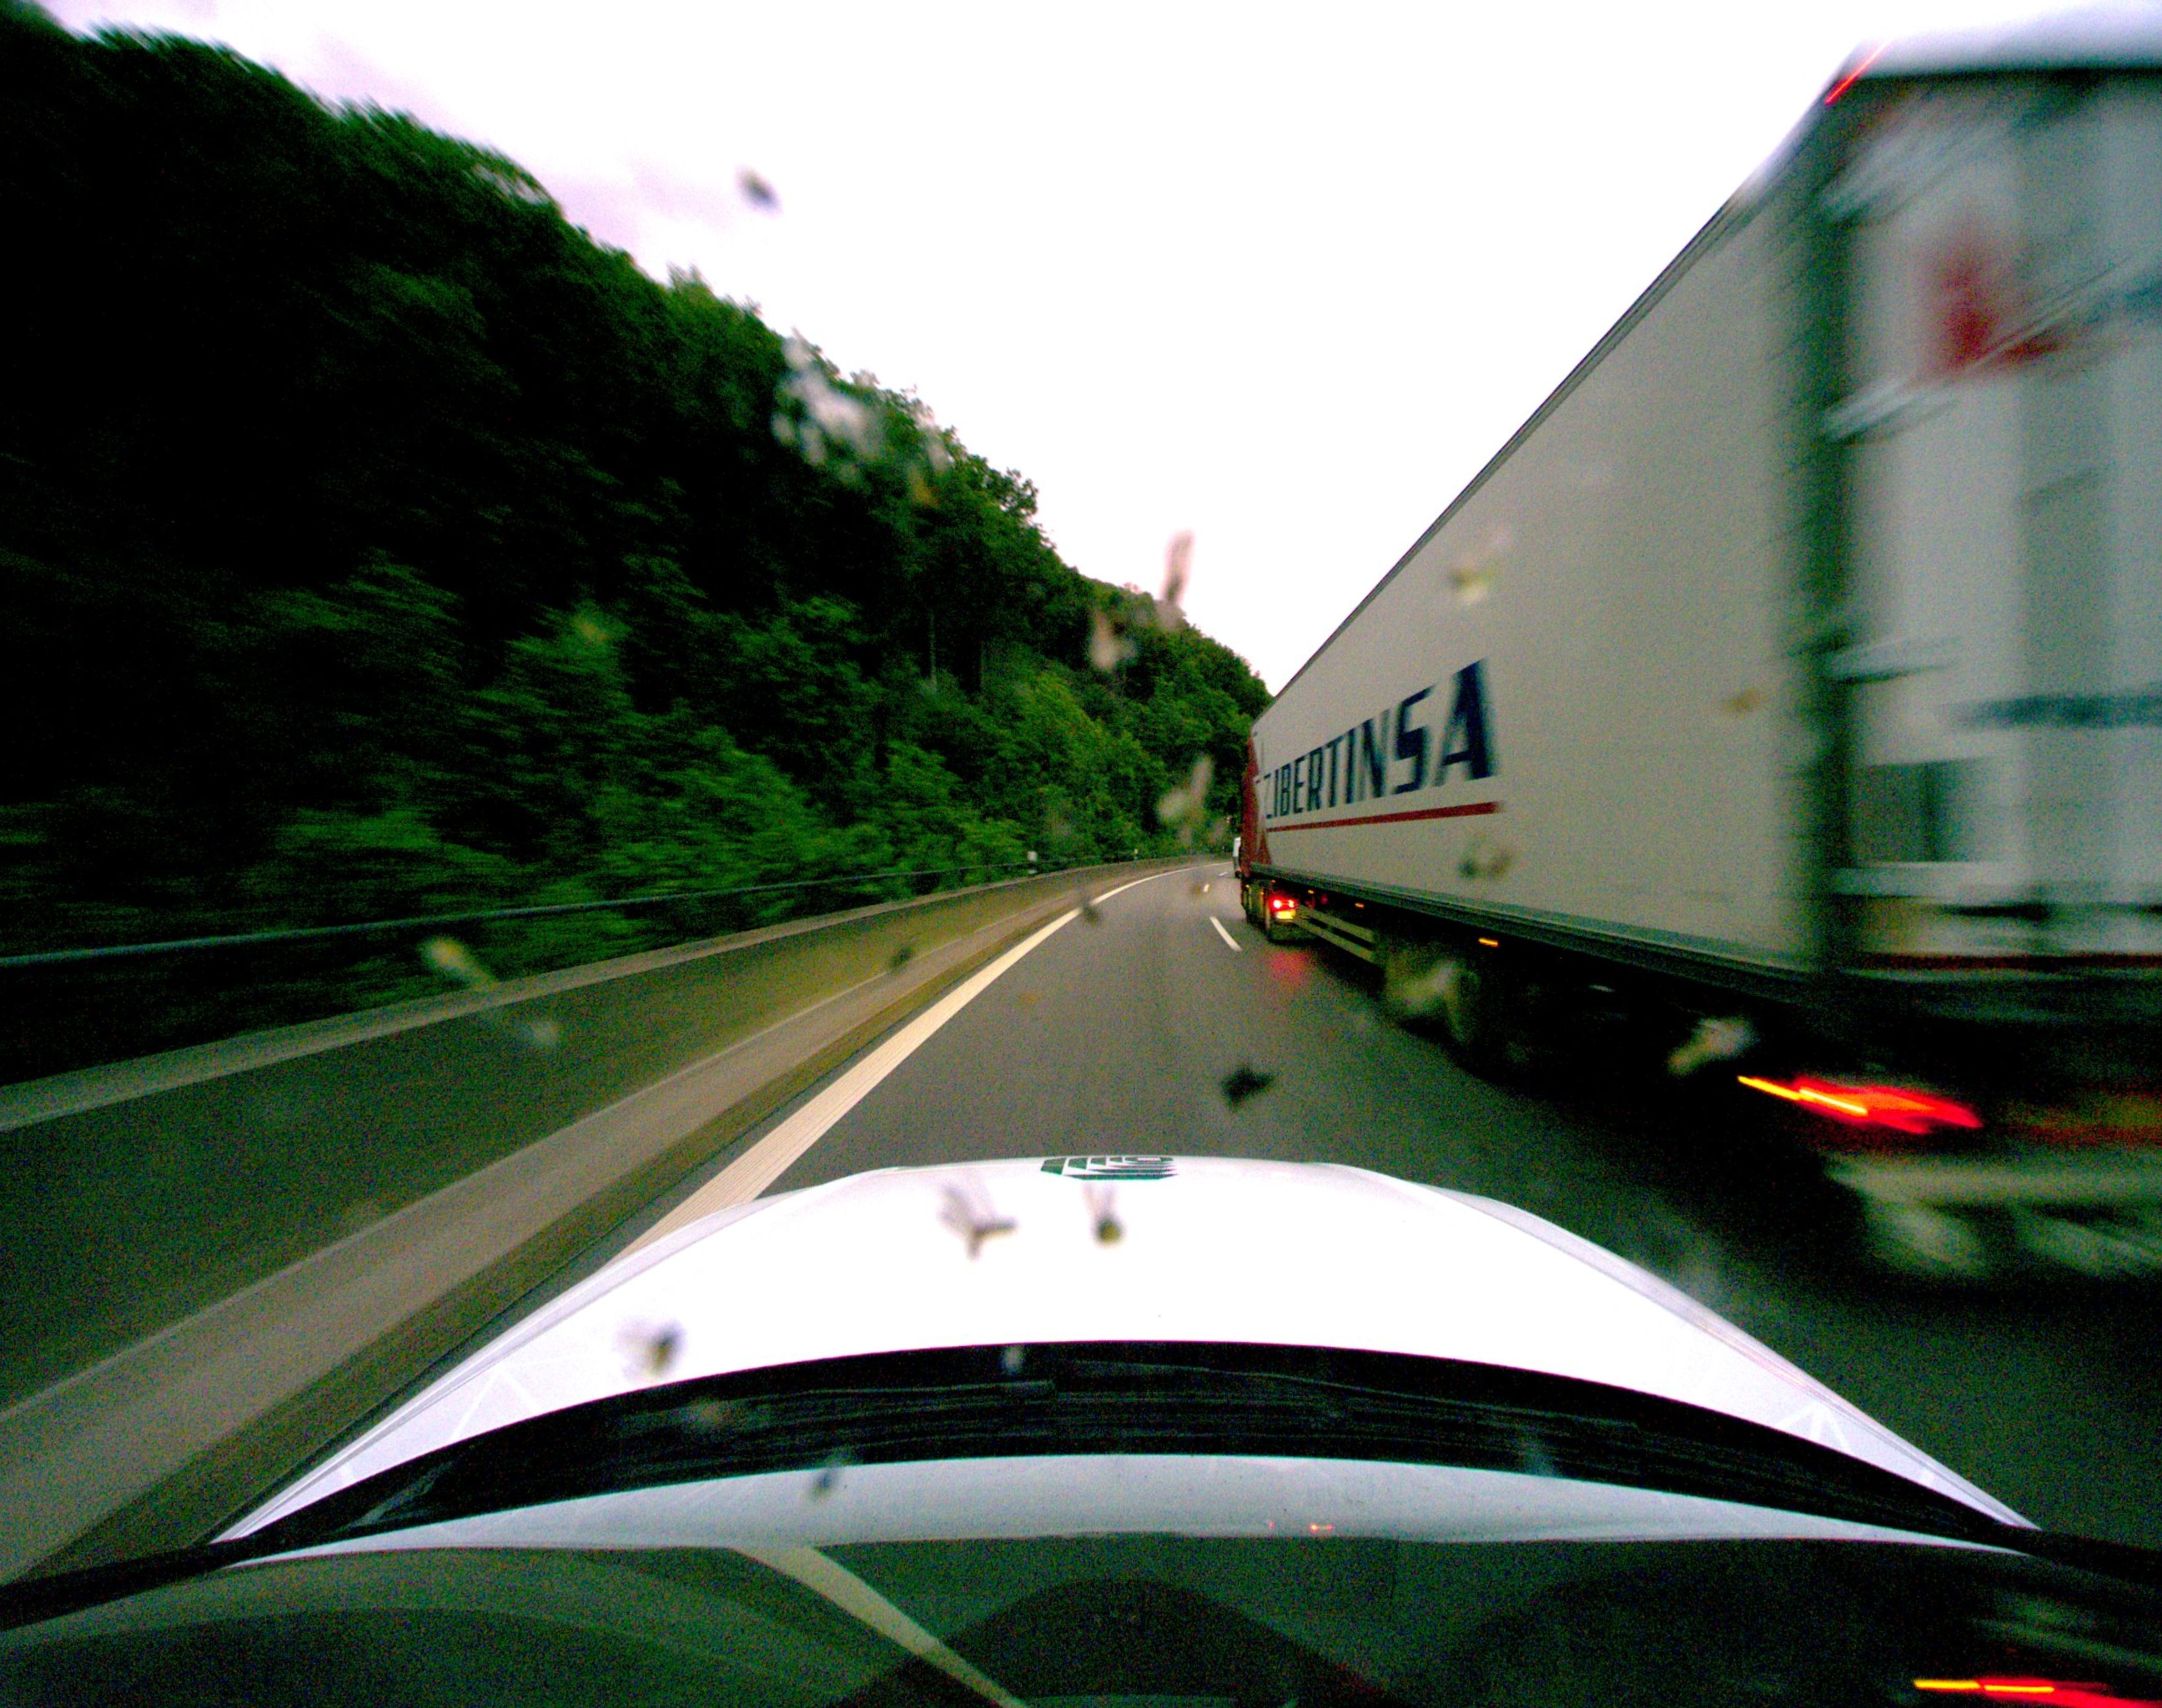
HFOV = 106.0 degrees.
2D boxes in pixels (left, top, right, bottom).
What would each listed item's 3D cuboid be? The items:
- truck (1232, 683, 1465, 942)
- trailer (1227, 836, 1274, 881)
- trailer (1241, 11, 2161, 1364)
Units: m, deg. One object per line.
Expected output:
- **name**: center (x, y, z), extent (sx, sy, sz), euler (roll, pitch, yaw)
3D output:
- **truck**: center (4.886, -0.643, 16.338), extent (3.055, 4.145, 6.455), euler (0, -1, 5)
- **trailer**: center (9.441, 0.186, 45.791), extent (2.044, 2.374, 5.950), euler (0, 1, 7)
- **trailer**: center (4.274, -0.563, 9.450), extent (3.083, 3.970, 14.237), euler (-2, 0, 5)
